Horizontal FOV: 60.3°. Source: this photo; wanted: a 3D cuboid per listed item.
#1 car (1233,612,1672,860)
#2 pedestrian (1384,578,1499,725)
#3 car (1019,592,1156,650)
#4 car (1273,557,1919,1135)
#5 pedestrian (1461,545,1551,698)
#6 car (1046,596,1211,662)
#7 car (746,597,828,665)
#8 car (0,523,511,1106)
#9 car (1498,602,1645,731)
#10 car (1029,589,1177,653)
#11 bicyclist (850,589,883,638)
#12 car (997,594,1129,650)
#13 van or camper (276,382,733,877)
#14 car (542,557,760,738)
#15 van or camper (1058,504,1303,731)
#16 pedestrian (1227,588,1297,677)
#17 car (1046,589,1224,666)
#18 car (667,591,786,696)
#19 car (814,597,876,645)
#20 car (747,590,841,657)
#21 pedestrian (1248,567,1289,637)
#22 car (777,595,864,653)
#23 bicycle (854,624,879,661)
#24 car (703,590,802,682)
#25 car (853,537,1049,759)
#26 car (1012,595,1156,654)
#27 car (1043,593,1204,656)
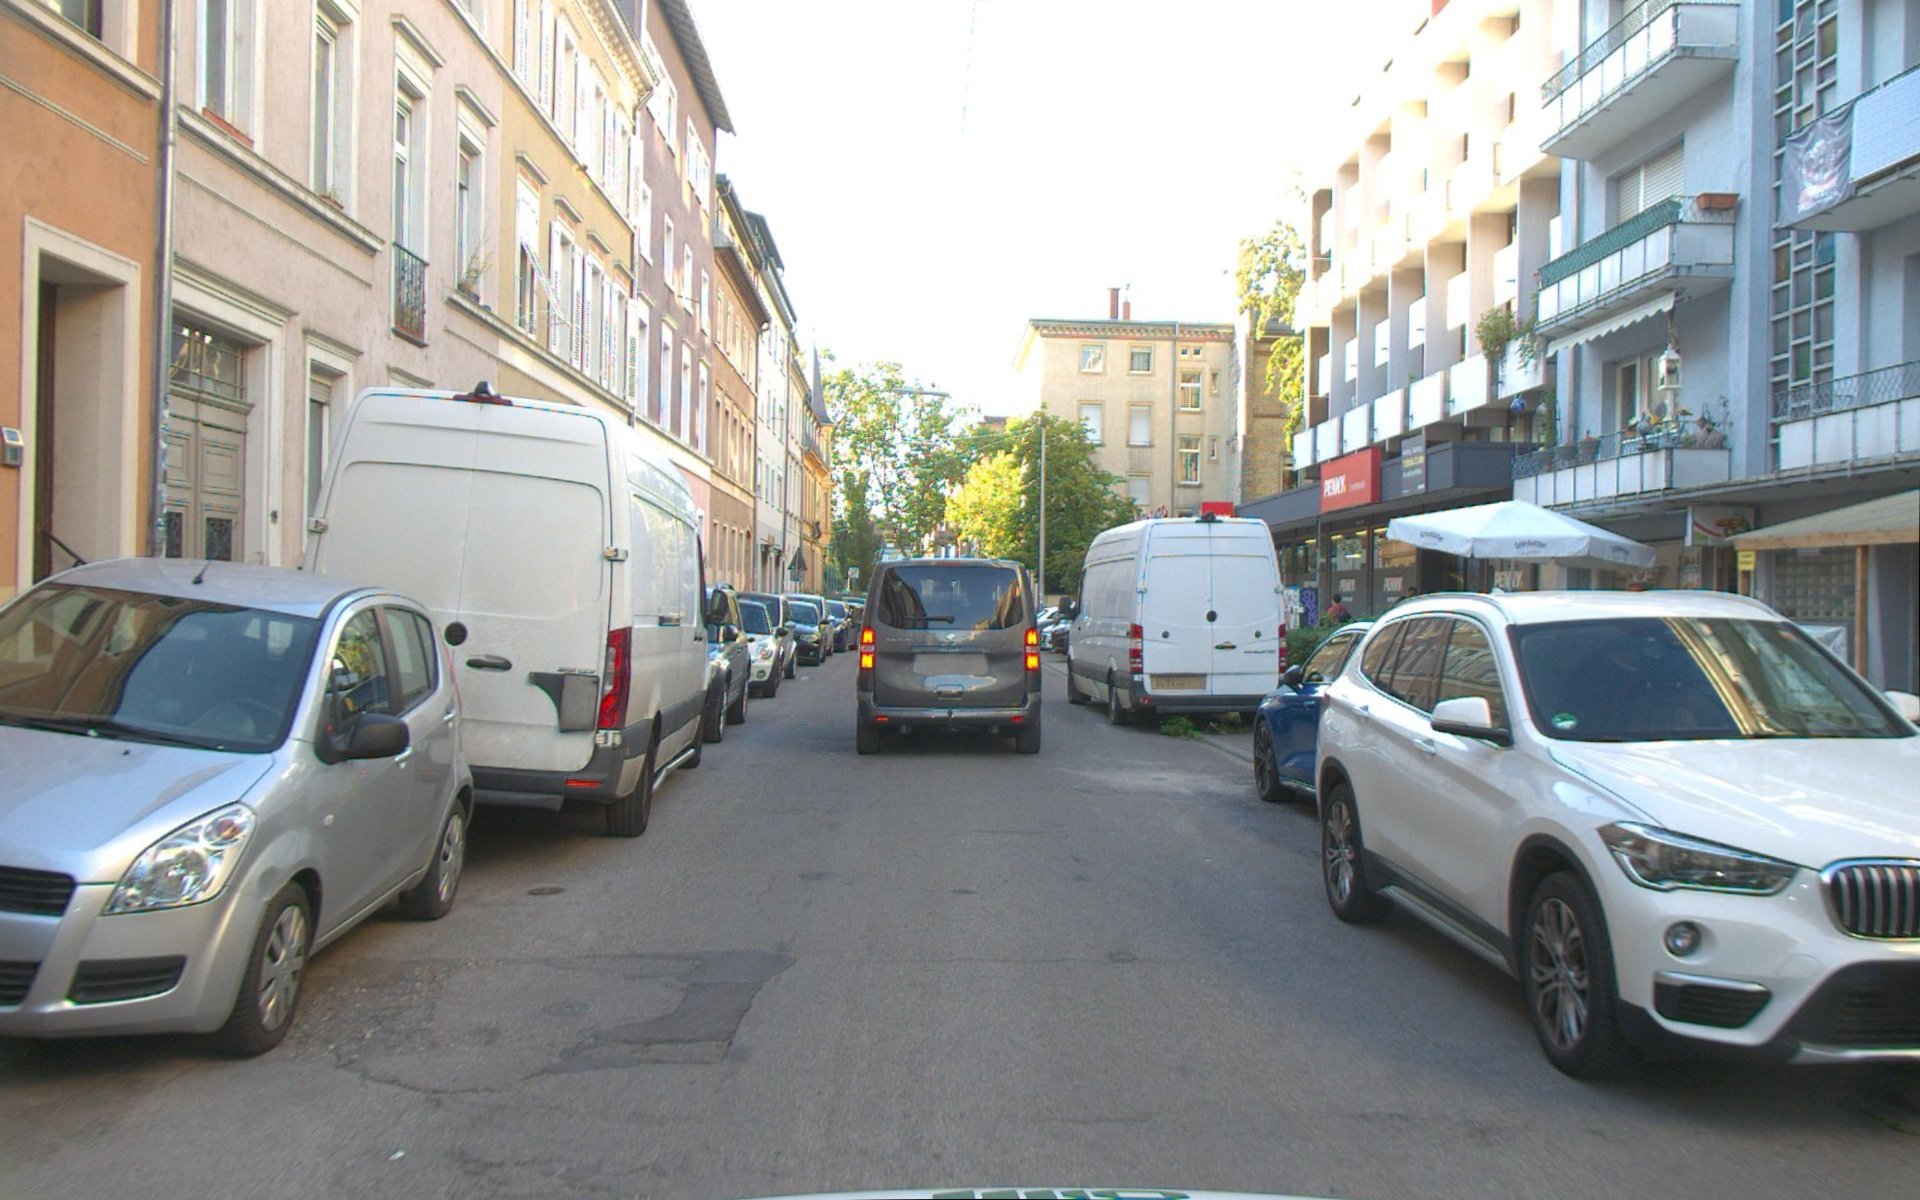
[{"bbox_3d":[3.282,0.818,11.949,1.688,1.412,4.292,0,0,-3],"label":"car"},{"bbox_3d":[5.392,0.562,18.550,0.859,1.583,0.869,-1,0,-24],"label":"pedestrian"},{"bbox_3d":[4.483,0.718,58.434,4.485,1.891,1.996,2,0,-9],"label":"car"},{"bbox_3d":[2.770,0.723,7.053,1.688,1.640,4.584,1,0,-4],"label":"car"},{"bbox_3d":[7.986,0.305,24.206,0.859,2.182,0.951,1,0,-18],"label":"pedestrian"},{"bbox_3d":[4.787,0.817,47.238,4.370,1.705,1.795,2,0,-7],"label":"car"},{"bbox_3d":[-4.007,0.687,38.858,1.753,1.422,4.463,2,0,-5],"label":"car"},{"bbox_3d":[-3.062,0.622,6.715,1.558,1.715,3.651,2,0,-2],"label":"car"},{"bbox_3d":[7.522,0.754,20.309,1.567,1.441,3.229,0,0,21],"label":"car"},{"bbox_3d":[4.552,0.672,52.920,4.390,1.891,1.881,2,0,-9],"label":"car"},{"bbox_3d":[-3.097,0.446,54.774,1.013,1.605,0.833,0,0,3],"label":"bicyclist"},{"bbox_3d":[3.754,0.811,60.838,4.485,1.891,1.996,2,0,-9],"label":"car"},{"bbox_3d":[-2.981,0.160,12.646,1.910,2.696,7.136,0,0,-3],"label":"van or camper"},{"bbox_3d":[-3.379,0.480,18.870,1.826,1.781,4.291,2,0,-3],"label":"car"},{"bbox_3d":[2.808,0.206,23.113,2.058,2.648,7.507,0,0,-3],"label":"van or camper"},{"bbox_3d":[6.053,0.644,33.164,0.925,1.750,1.050,0,0,-36],"label":"pedestrian"},{"bbox_3d":[4.646,0.727,44.453,4.478,1.891,1.999,2,0,-3],"label":"car"},{"bbox_3d":[-3.659,0.641,26.432,1.678,1.523,3.851,2,0,-6],"label":"car"},{"bbox_3d":[-4.149,0.706,59.292,2.102,1.588,4.580,2,0,-5],"label":"car"},{"bbox_3d":[-4.316,0.589,43.762,1.953,1.633,4.585,2,0,0],"label":"car"},{"bbox_3d":[8.875,0.047,47.593,1.063,1.979,0.872,1,0,16],"label":"pedestrian"},{"bbox_3d":[-4.127,0.683,49.670,1.952,1.588,4.586,2,0,3],"label":"car"},{"bbox_3d":[-3.074,1.374,54.481,0.608,1.158,2.258,0,0,2],"label":"bicycle"},{"bbox_3d":[-3.723,0.618,29.981,1.357,1.559,2.749,2,0,1],"label":"car"},{"bbox_3d":[-0.156,0.440,17.480,1.820,2.049,3.998,-1,0,-2],"label":"car"},{"bbox_3d":[4.140,0.798,55.660,4.485,1.823,1.996,2,0,-9],"label":"car"},{"bbox_3d":[4.910,0.722,49.946,4.485,1.735,1.996,2,0,-9],"label":"car"}]
